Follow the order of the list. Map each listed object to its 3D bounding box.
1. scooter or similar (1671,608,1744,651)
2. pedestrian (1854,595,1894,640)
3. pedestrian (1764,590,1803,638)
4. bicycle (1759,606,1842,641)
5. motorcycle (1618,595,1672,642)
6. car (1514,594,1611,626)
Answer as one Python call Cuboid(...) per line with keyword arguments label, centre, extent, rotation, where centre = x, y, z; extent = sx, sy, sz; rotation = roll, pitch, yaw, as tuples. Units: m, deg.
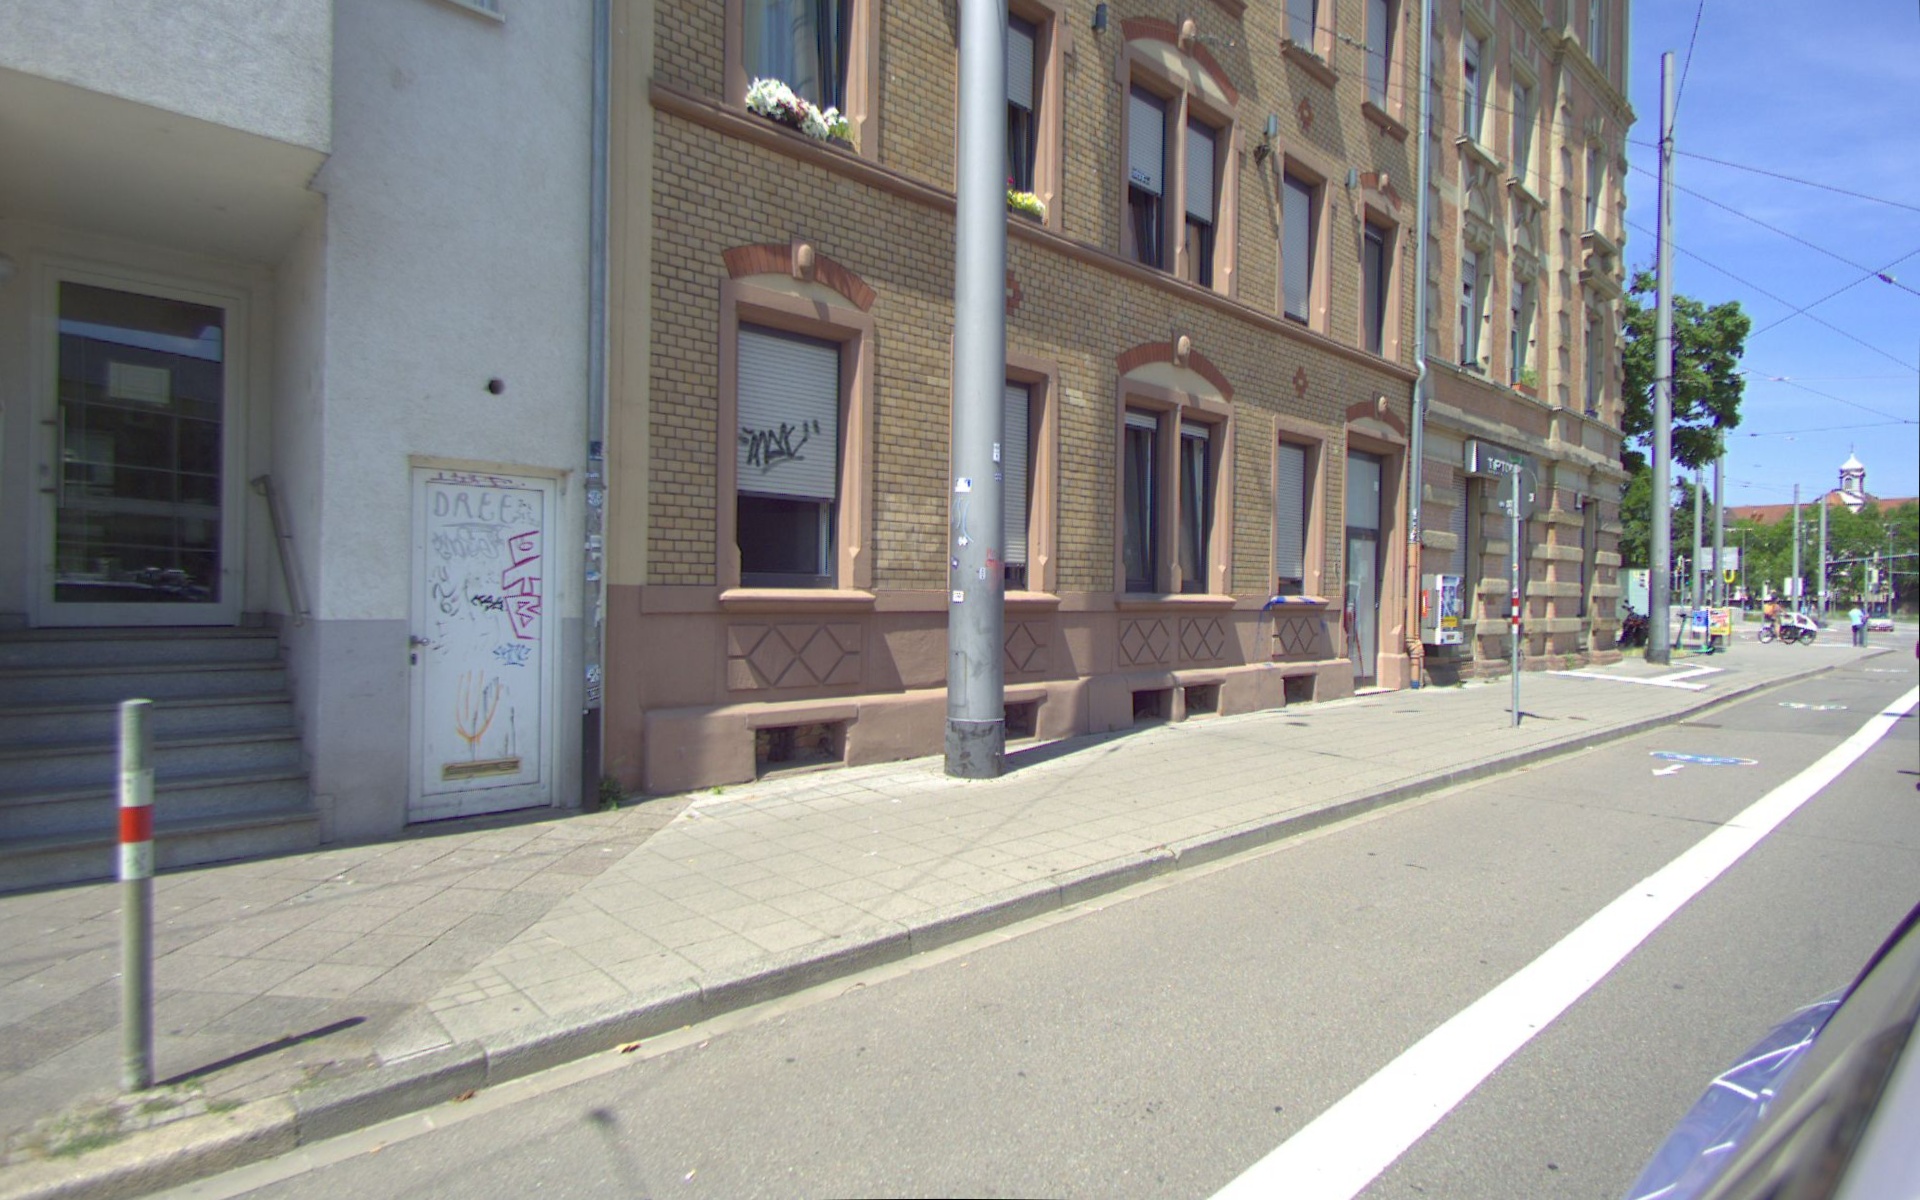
Cuboid(label="scooter or similar", centre=(21.307, 0.820, 28.886), extent=(1.506, 1.170, 0.710), rotation=(1, 0, 20))
Cuboid(label="pedestrian", centre=(37.094, 0.715, 41.074), extent=(0.856, 1.802, 0.811), rotation=(1, 0, -10))
Cuboid(label="pedestrian", centre=(31.485, 0.519, 38.720), extent=(0.810, 1.797, 0.813), rotation=(0, 0, 4))
Cuboid(label="bicycle", centre=(32.138, 0.877, 38.710), extent=(2.181, 1.266, 1.098), rotation=(1, 0, 4))
Cuboid(label="motorcycle", centre=(21.055, 0.528, 31.072), extent=(2.551, 1.379, 0.765), rotation=(0, 1, -42))
Cuboid(label="car", centre=(32.264, 0.514, 54.306), extent=(4.108, 1.625, 1.703), rotation=(1, 0, 10))
